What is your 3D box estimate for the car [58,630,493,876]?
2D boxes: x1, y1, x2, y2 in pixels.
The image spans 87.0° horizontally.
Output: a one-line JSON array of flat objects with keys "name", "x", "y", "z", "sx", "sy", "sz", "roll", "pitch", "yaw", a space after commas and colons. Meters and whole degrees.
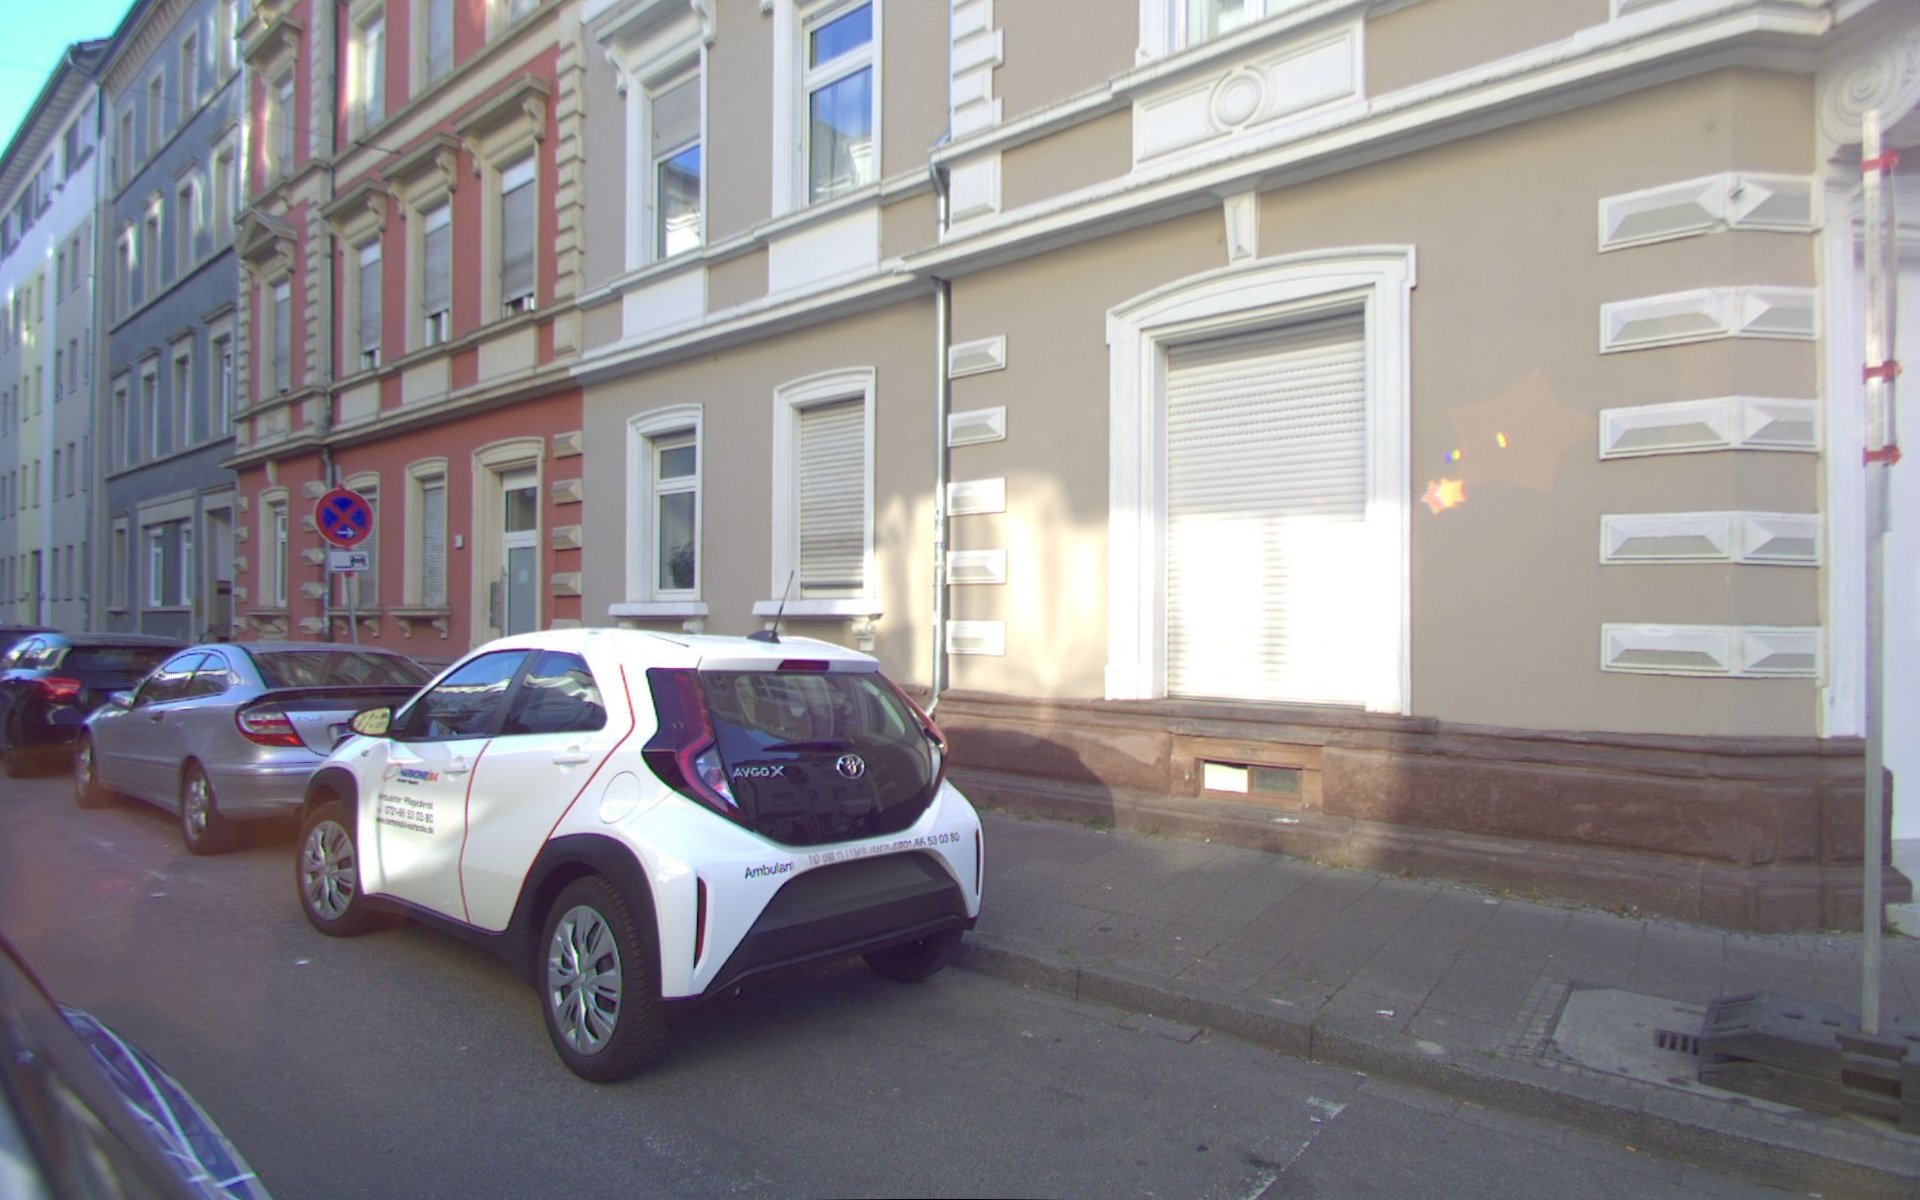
[{"name": "car", "x": -5.486, "y": 1.002, "z": 7.940, "sx": 3.956, "sy": 1.439, "sz": 1.594, "roll": -1, "pitch": -4, "yaw": 37}]

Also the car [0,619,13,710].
[{"name": "car", "x": -18.489, "y": 1.120, "z": 18.123, "sx": 4.423, "sy": 1.534, "sz": 1.578, "roll": -1, "pitch": -1, "yaw": 38}]

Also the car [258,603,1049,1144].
[{"name": "car", "x": -1.654, "y": 0.844, "z": 4.746, "sx": 3.841, "sy": 1.507, "sz": 1.667, "roll": -1, "pitch": -5, "yaw": 40}]

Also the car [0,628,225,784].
[{"name": "car", "x": -9.766, "y": 1.073, "z": 11.213, "sx": 3.907, "sy": 1.426, "sz": 1.569, "roll": -1, "pitch": -5, "yaw": 39}]

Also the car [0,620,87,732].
[{"name": "car", "x": -14.552, "y": 1.054, "z": 15.033, "sx": 4.189, "sy": 1.510, "sz": 1.519, "roll": -1, "pitch": -3, "yaw": 37}]
